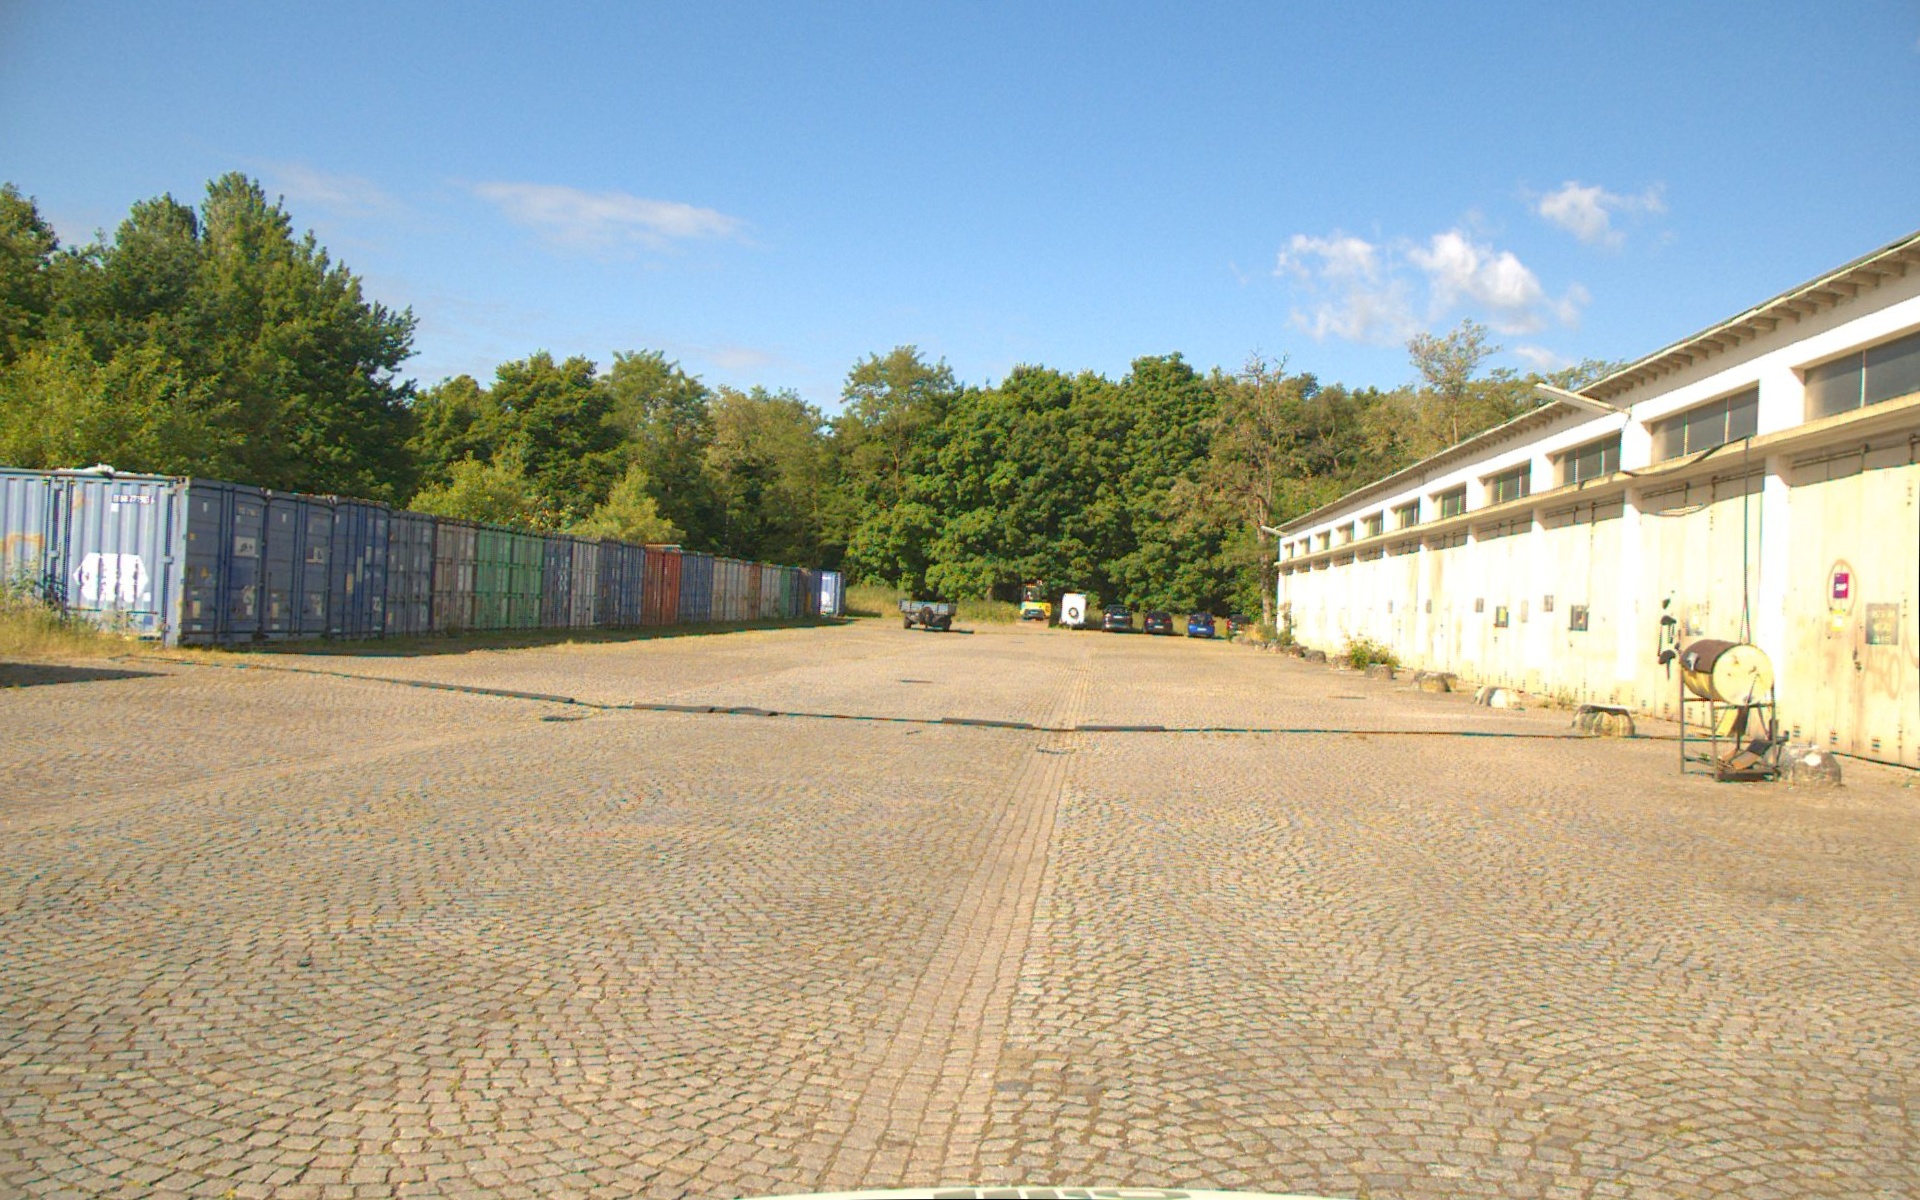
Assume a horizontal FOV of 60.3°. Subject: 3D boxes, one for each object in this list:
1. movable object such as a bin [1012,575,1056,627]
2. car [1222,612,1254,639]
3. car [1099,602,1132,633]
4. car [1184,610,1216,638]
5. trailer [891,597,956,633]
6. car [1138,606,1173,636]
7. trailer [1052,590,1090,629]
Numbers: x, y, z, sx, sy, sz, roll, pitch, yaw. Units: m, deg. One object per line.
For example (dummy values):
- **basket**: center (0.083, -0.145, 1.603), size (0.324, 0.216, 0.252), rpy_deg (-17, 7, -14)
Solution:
- **movable object such as a bin**: center (4.675, 0.011, 103.292), size (2.258, 2.946, 5.755), rpy_deg (4, 1, 5)
- **car**: center (16.999, 1.545, 101.010), size (1.707, 1.461, 4.186), rpy_deg (4, 1, 11)
- **car**: center (9.350, 1.019, 99.918), size (1.825, 1.616, 4.298), rpy_deg (4, 1, 4)
- **car**: center (14.491, 1.448, 99.802), size (1.707, 1.461, 4.187), rpy_deg (4, 1, 10)
- **trailer**: center (-1.773, 0.712, 83.050), size (2.649, 1.491, 6.250), rpy_deg (4, 1, 3)
- **car**: center (11.801, 1.250, 100.085), size (1.825, 1.495, 4.298), rpy_deg (4, 1, 4)
- **trailer**: center (6.925, 0.539, 102.508), size (2.147, 2.130, 5.754), rpy_deg (4, 1, 4)
